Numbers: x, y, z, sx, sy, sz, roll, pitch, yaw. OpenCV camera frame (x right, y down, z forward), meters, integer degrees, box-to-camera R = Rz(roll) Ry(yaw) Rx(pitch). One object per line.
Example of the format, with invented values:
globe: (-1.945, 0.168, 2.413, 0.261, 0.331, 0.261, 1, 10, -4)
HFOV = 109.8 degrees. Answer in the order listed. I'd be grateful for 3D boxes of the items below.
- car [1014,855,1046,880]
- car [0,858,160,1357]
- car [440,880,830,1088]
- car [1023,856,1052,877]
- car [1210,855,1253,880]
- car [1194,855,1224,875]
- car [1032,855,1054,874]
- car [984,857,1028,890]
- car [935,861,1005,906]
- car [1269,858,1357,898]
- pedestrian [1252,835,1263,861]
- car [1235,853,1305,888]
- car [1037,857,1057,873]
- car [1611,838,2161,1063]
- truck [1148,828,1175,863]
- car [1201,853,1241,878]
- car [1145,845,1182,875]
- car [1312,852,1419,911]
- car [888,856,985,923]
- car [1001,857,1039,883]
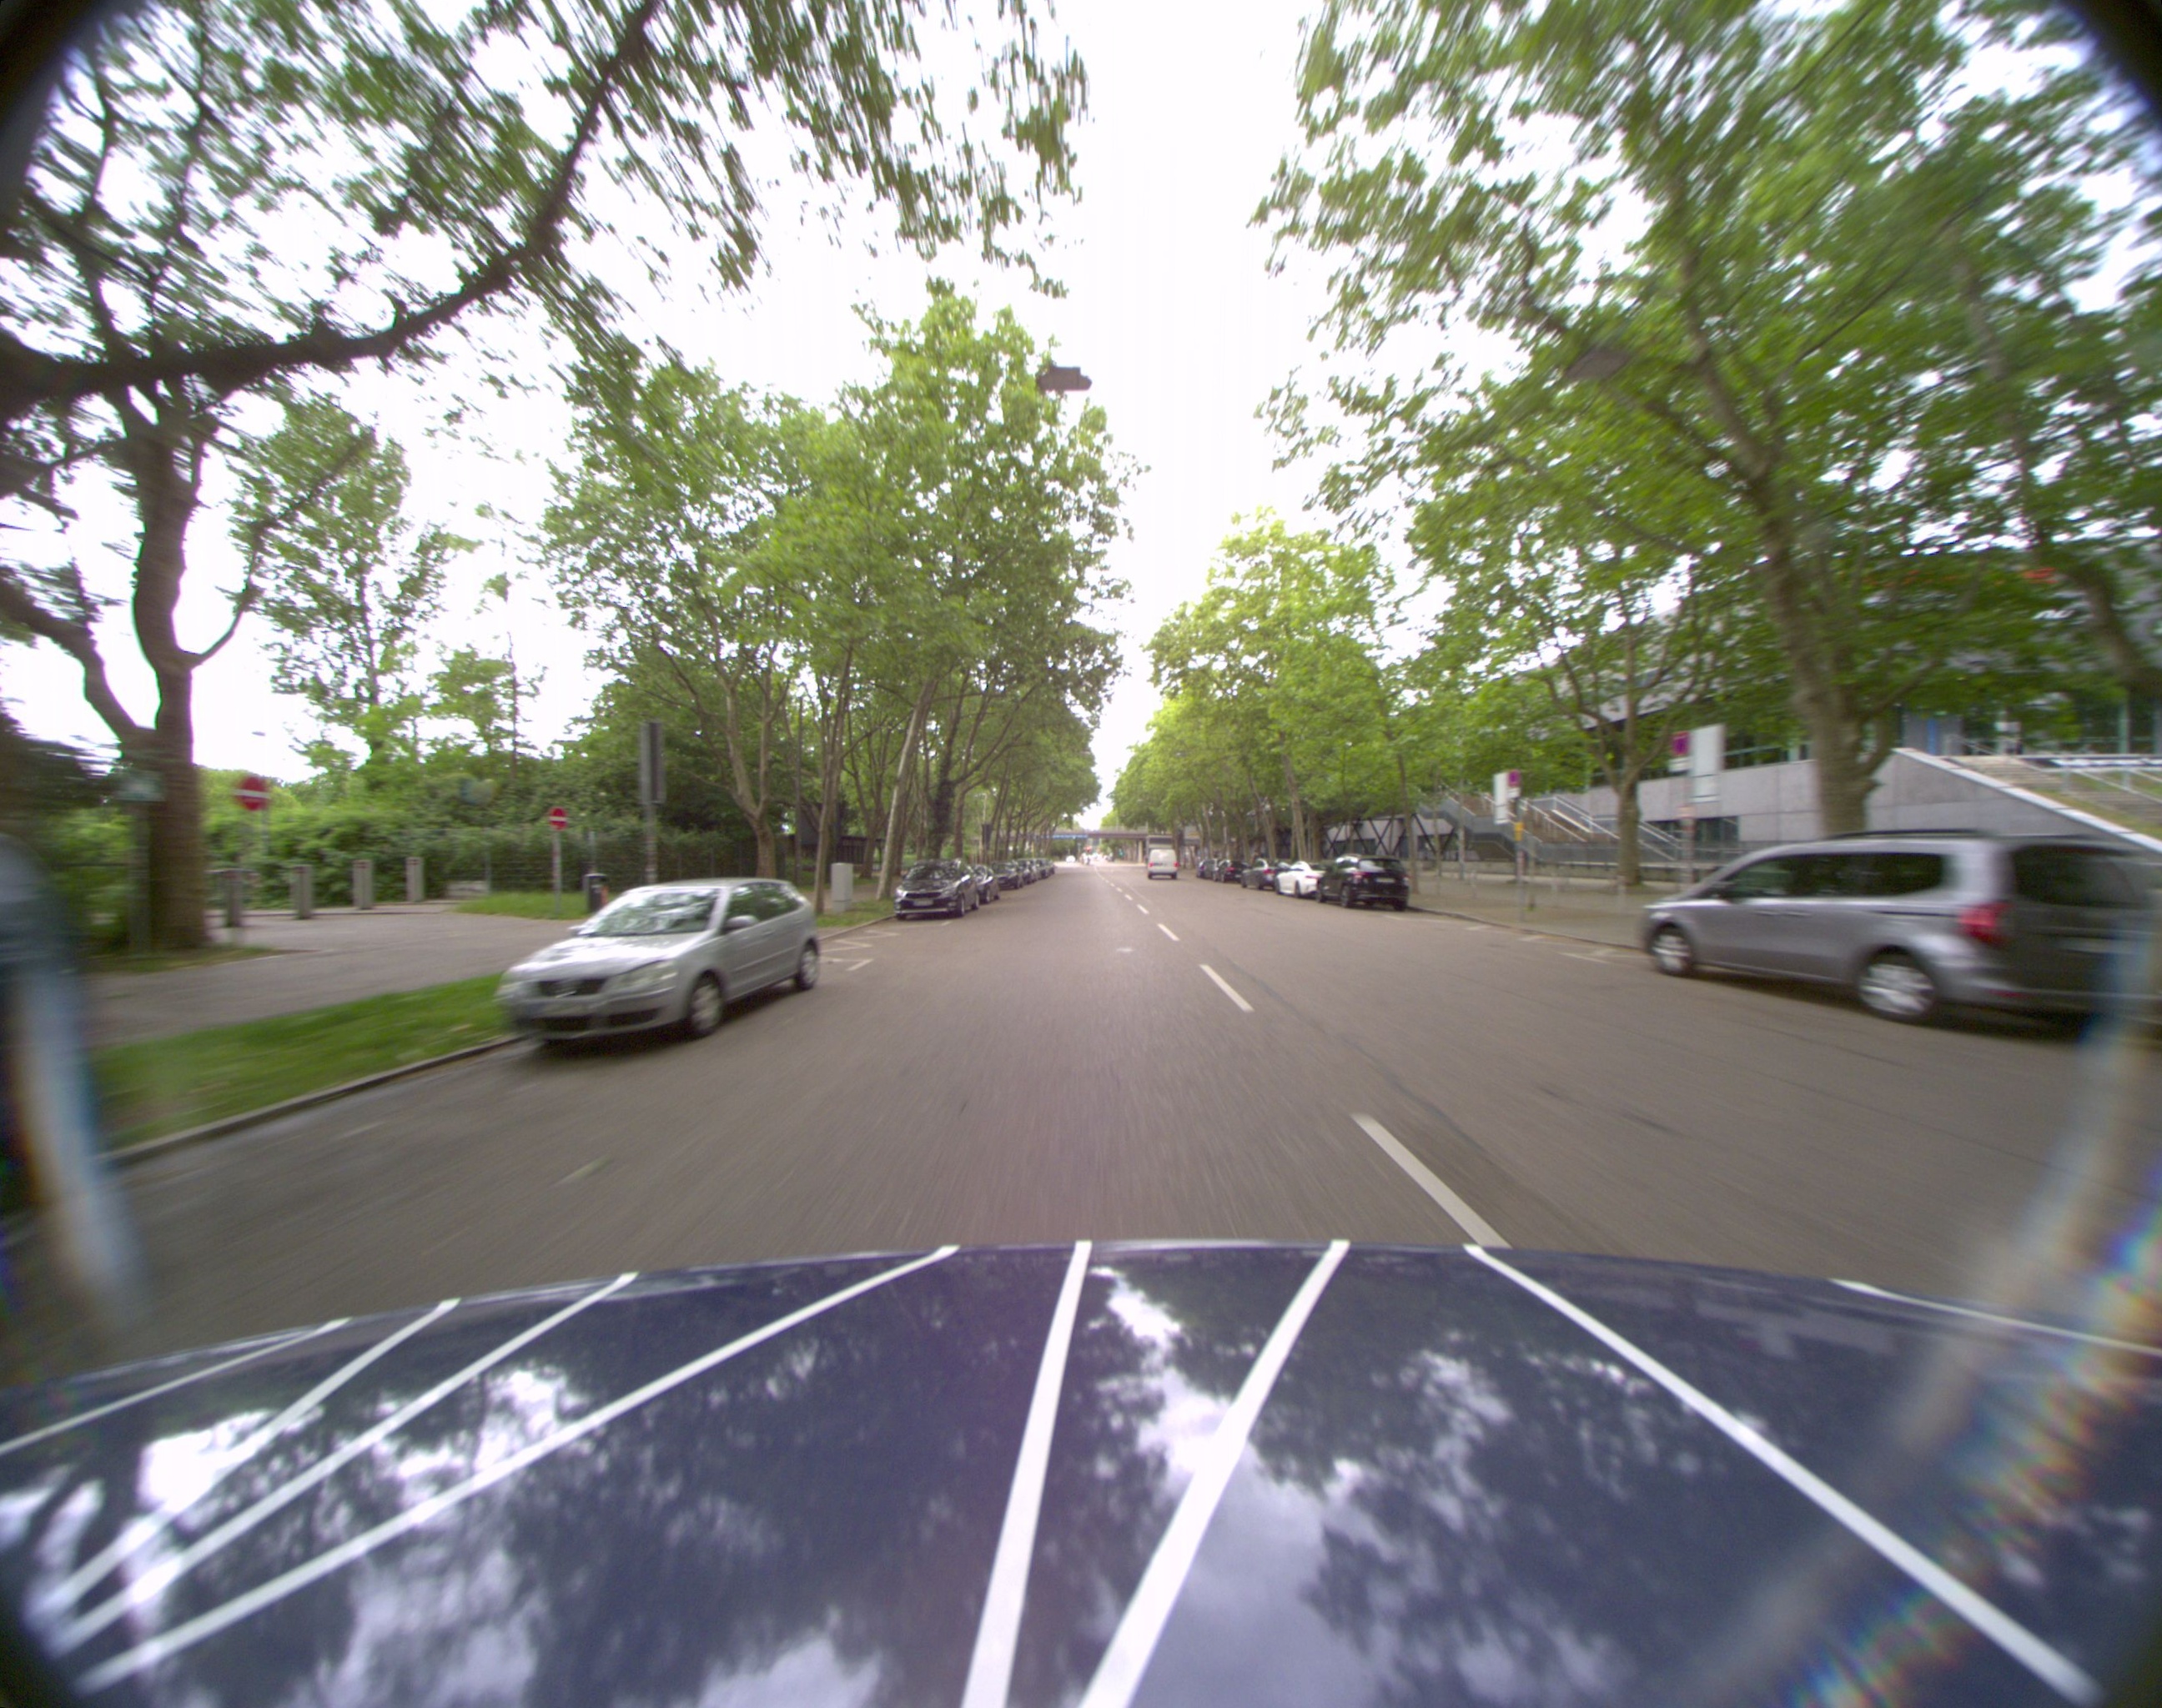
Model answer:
car: (-3.545, 0.914, 53.401, 1.783, 1.608, 4.224, -3, 0, 1)
car: (-4.567, 0.932, 0.883, 1.848, 1.772, 4.444, -3, 0, -8)
car: (-4.231, 1.115, 8.065, 1.623, 1.453, 3.946, -3, 0, 2)
car: (-3.314, 0.907, 58.295, 1.734, 1.468, 4.982, -3, 0, 1)
car: (9.082, 0.787, 46.195, 1.712, 1.374, 4.331, 3, 0, 0)
car: (9.370, 0.771, 55.904, 1.698, 1.354, 4.001, 4, 0, 3)
car: (-3.426, 0.956, 68.450, 1.734, 1.560, 4.079, -3, 0, -1)
car: (-3.897, 0.988, 40.014, 1.781, 1.544, 4.396, -3, 0, 0)
car: (-3.970, 1.020, 27.856, 1.780, 1.410, 4.287, -3, 0, 1)
car: (8.723, 0.847, 29.025, 1.820, 1.354, 5.005, 1, 0, 0)
pedestrian: (12.814, -0.423, 55.176, 0.508, 1.829, 0.826, -1, 1, -6)
car: (8.740, 0.733, 35.569, 1.824, 1.476, 4.992, 1, 0, -2)
car: (-3.284, 1.040, 74.469, 1.734, 1.460, 4.079, -3, 0, 0)
car: (8.511, 0.776, 8.484, 1.900, 1.785, 4.612, 2, 1, 0)
truck: (9.256, -0.980, 88.455, 2.916, 3.846, 9.469, 1, 1, 5)
car: (9.397, 0.747, 51.184, 1.699, 1.469, 3.649, 3, 0, -5)
car: (5.568, 0.381, 51.919, 2.064, 1.950, 5.466, 0, 0, 1)
car: (8.666, 0.759, 23.549, 1.822, 1.584, 4.345, 2, 0, 3)
car: (-3.997, 0.919, 21.753, 1.834, 1.593, 4.467, -3, 0, 0)
car: (-3.699, 0.956, 46.758, 1.743, 1.462, 4.152, -3, 0, 2)
